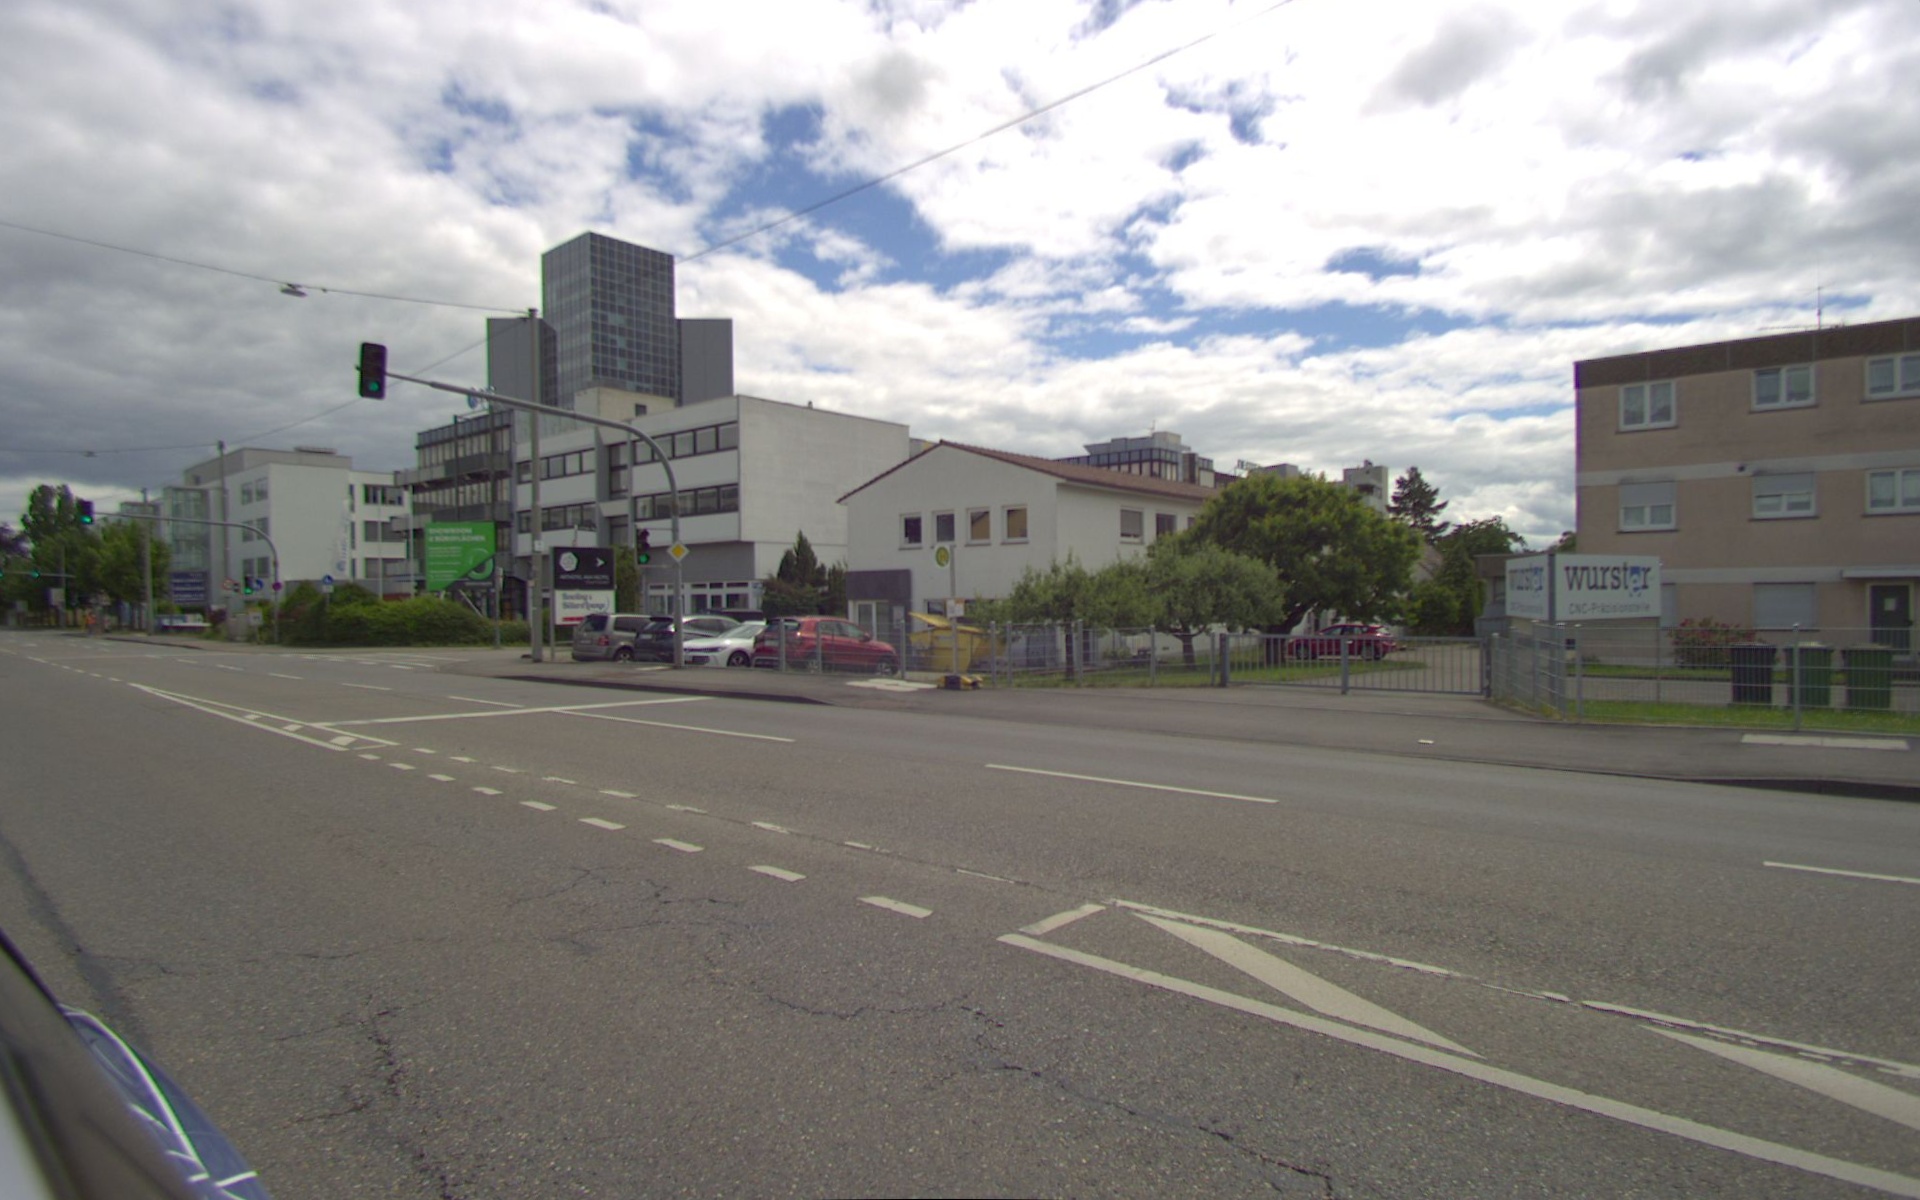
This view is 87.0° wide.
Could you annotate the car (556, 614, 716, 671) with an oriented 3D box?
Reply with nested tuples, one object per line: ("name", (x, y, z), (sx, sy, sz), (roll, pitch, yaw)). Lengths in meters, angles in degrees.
("car", (-9.332, 1.271, 29.395), (1.904, 1.409, 4.056), (-2, -6, 35))

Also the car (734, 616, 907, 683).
("car", (-3.358, 1.244, 24.919), (1.847, 1.380, 3.946), (0, -5, 40))

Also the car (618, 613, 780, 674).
("car", (-7.181, 1.235, 28.139), (1.854, 1.435, 3.946), (0, -5, 40))

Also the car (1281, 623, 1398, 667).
("car", (15.513, 1.807, 41.420), (4.167, 1.554, 1.827), (0, 2, 36))

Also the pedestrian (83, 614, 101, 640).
("pedestrian", (-69.897, 2.139, 81.497), (0.715, 2.028, 0.811), (-2, 2, -5))

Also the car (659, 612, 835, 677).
("car", (-5.463, 1.186, 26.386), (1.981, 1.398, 4.184), (0, -5, 37))
